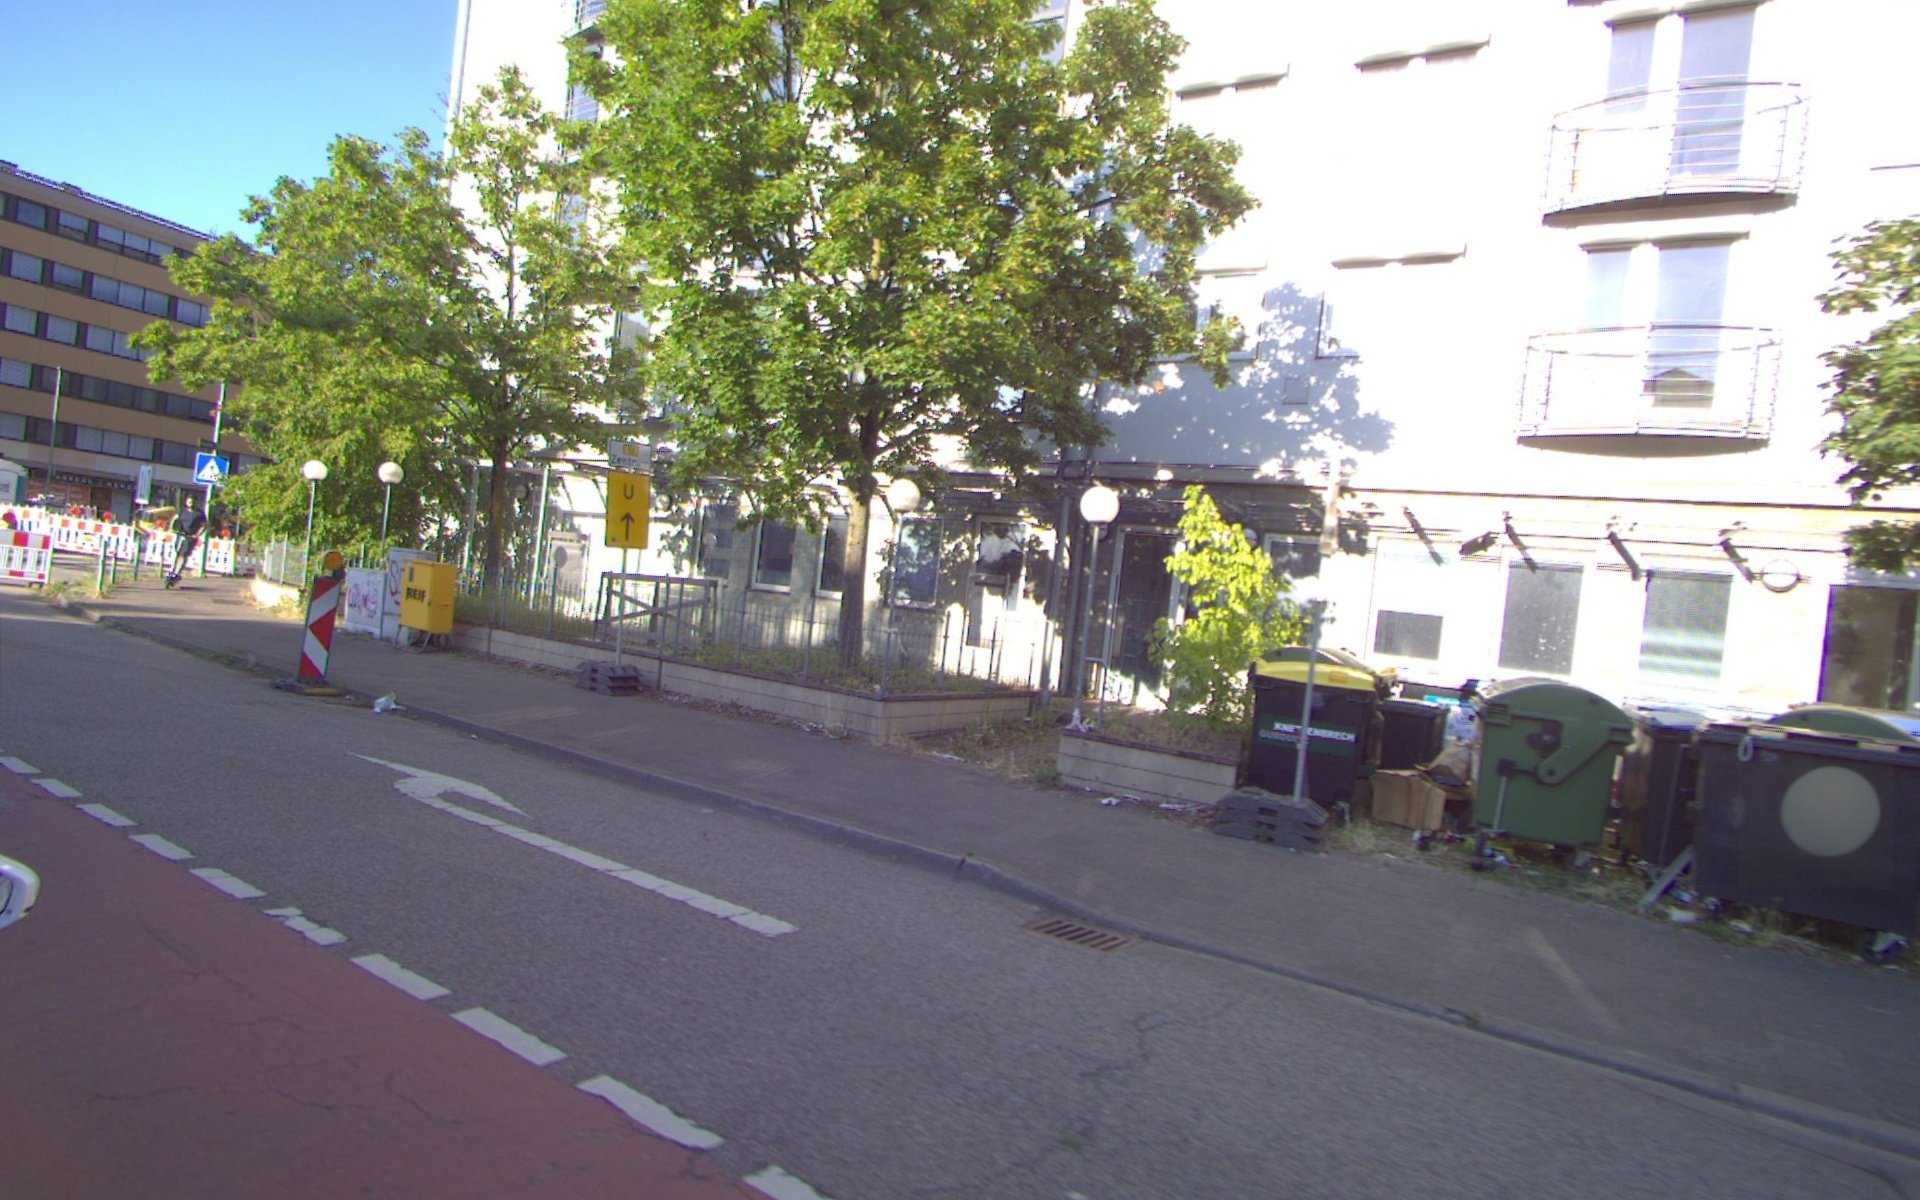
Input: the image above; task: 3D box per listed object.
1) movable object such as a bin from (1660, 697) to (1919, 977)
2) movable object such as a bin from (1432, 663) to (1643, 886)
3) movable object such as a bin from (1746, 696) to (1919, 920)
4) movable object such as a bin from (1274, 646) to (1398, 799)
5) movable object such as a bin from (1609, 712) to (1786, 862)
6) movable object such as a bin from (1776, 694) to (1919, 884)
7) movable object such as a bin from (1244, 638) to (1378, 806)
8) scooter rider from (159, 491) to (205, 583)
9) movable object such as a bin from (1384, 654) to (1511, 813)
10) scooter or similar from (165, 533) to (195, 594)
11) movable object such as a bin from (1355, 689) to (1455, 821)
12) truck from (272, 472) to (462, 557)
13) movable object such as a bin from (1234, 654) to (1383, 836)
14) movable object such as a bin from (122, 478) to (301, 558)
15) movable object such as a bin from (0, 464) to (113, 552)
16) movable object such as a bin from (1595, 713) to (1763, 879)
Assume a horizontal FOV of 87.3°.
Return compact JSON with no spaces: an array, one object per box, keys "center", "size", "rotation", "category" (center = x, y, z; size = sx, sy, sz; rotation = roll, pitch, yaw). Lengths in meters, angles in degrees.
[{"center":[5.509,1.474,6.709],"size":[1.234,1.526,1.094],"rotation":[4,-1,32],"category":"movable object such as a bin"},{"center":[4.679,1.346,8.302],"size":[1.188,1.503,1.330],"rotation":[7,0,22],"category":"movable object such as a bin"},{"center":[7.146,1.593,7.963],"size":[1.259,1.452,1.307],"rotation":[8,3,37],"category":"movable object such as a bin"},{"center":[4.228,1.338,11.272],"size":[0.941,1.503,1.127],"rotation":[7,0,32],"category":"movable object such as a bin"},{"center":[7.223,1.786,9.969],"size":[1.222,1.142,1.420],"rotation":[7,0,33],"category":"movable object such as a bin"},{"center":[8.312,1.681,9.046],"size":[1.259,1.440,1.195],"rotation":[8,3,34],"category":"movable object such as a bin"},{"center":[3.597,1.207,10.277],"size":[0.940,1.503,1.104],"rotation":[7,0,31],"category":"movable object such as a bin"},{"center":[-16.251,-1.312,21.024],"size":[0.611,1.812,0.482],"rotation":[6,1,-36],"category":"scooter rider"},{"center":[5.372,1.415,11.053],"size":[0.999,1.503,1.328],"rotation":[7,0,31],"category":"movable object such as a bin"},{"center":[-16.293,-0.783,21.023],"size":[0.328,1.209,1.239],"rotation":[6,0,-35],"category":"scooter or similar"},{"center":[4.413,1.493,9.945],"size":[0.641,1.143,1.023],"rotation":[7,0,33],"category":"movable object such as a bin"},{"center":[-28.474,-4.019,48.704],"size":[2.760,2.933,7.346],"rotation":[7,0,29],"category":"truck"},{"center":[3.078,1.233,8.995],"size":[1.035,1.361,1.218],"rotation":[7,0,17],"category":"movable object such as a bin"},{"center":[-31.472,-3.400,42.486],"size":[2.505,2.521,5.358],"rotation":[7,0,29],"category":"movable object such as a bin"},{"center":[-29.746,-2.971,32.383],"size":[1.503,2.412,3.332],"rotation":[7,0,31],"category":"movable object such as a bin"},{"center":[6.231,1.645,8.812],"size":[1.008,1.142,1.420],"rotation":[7,0,33],"category":"movable object such as a bin"}]
